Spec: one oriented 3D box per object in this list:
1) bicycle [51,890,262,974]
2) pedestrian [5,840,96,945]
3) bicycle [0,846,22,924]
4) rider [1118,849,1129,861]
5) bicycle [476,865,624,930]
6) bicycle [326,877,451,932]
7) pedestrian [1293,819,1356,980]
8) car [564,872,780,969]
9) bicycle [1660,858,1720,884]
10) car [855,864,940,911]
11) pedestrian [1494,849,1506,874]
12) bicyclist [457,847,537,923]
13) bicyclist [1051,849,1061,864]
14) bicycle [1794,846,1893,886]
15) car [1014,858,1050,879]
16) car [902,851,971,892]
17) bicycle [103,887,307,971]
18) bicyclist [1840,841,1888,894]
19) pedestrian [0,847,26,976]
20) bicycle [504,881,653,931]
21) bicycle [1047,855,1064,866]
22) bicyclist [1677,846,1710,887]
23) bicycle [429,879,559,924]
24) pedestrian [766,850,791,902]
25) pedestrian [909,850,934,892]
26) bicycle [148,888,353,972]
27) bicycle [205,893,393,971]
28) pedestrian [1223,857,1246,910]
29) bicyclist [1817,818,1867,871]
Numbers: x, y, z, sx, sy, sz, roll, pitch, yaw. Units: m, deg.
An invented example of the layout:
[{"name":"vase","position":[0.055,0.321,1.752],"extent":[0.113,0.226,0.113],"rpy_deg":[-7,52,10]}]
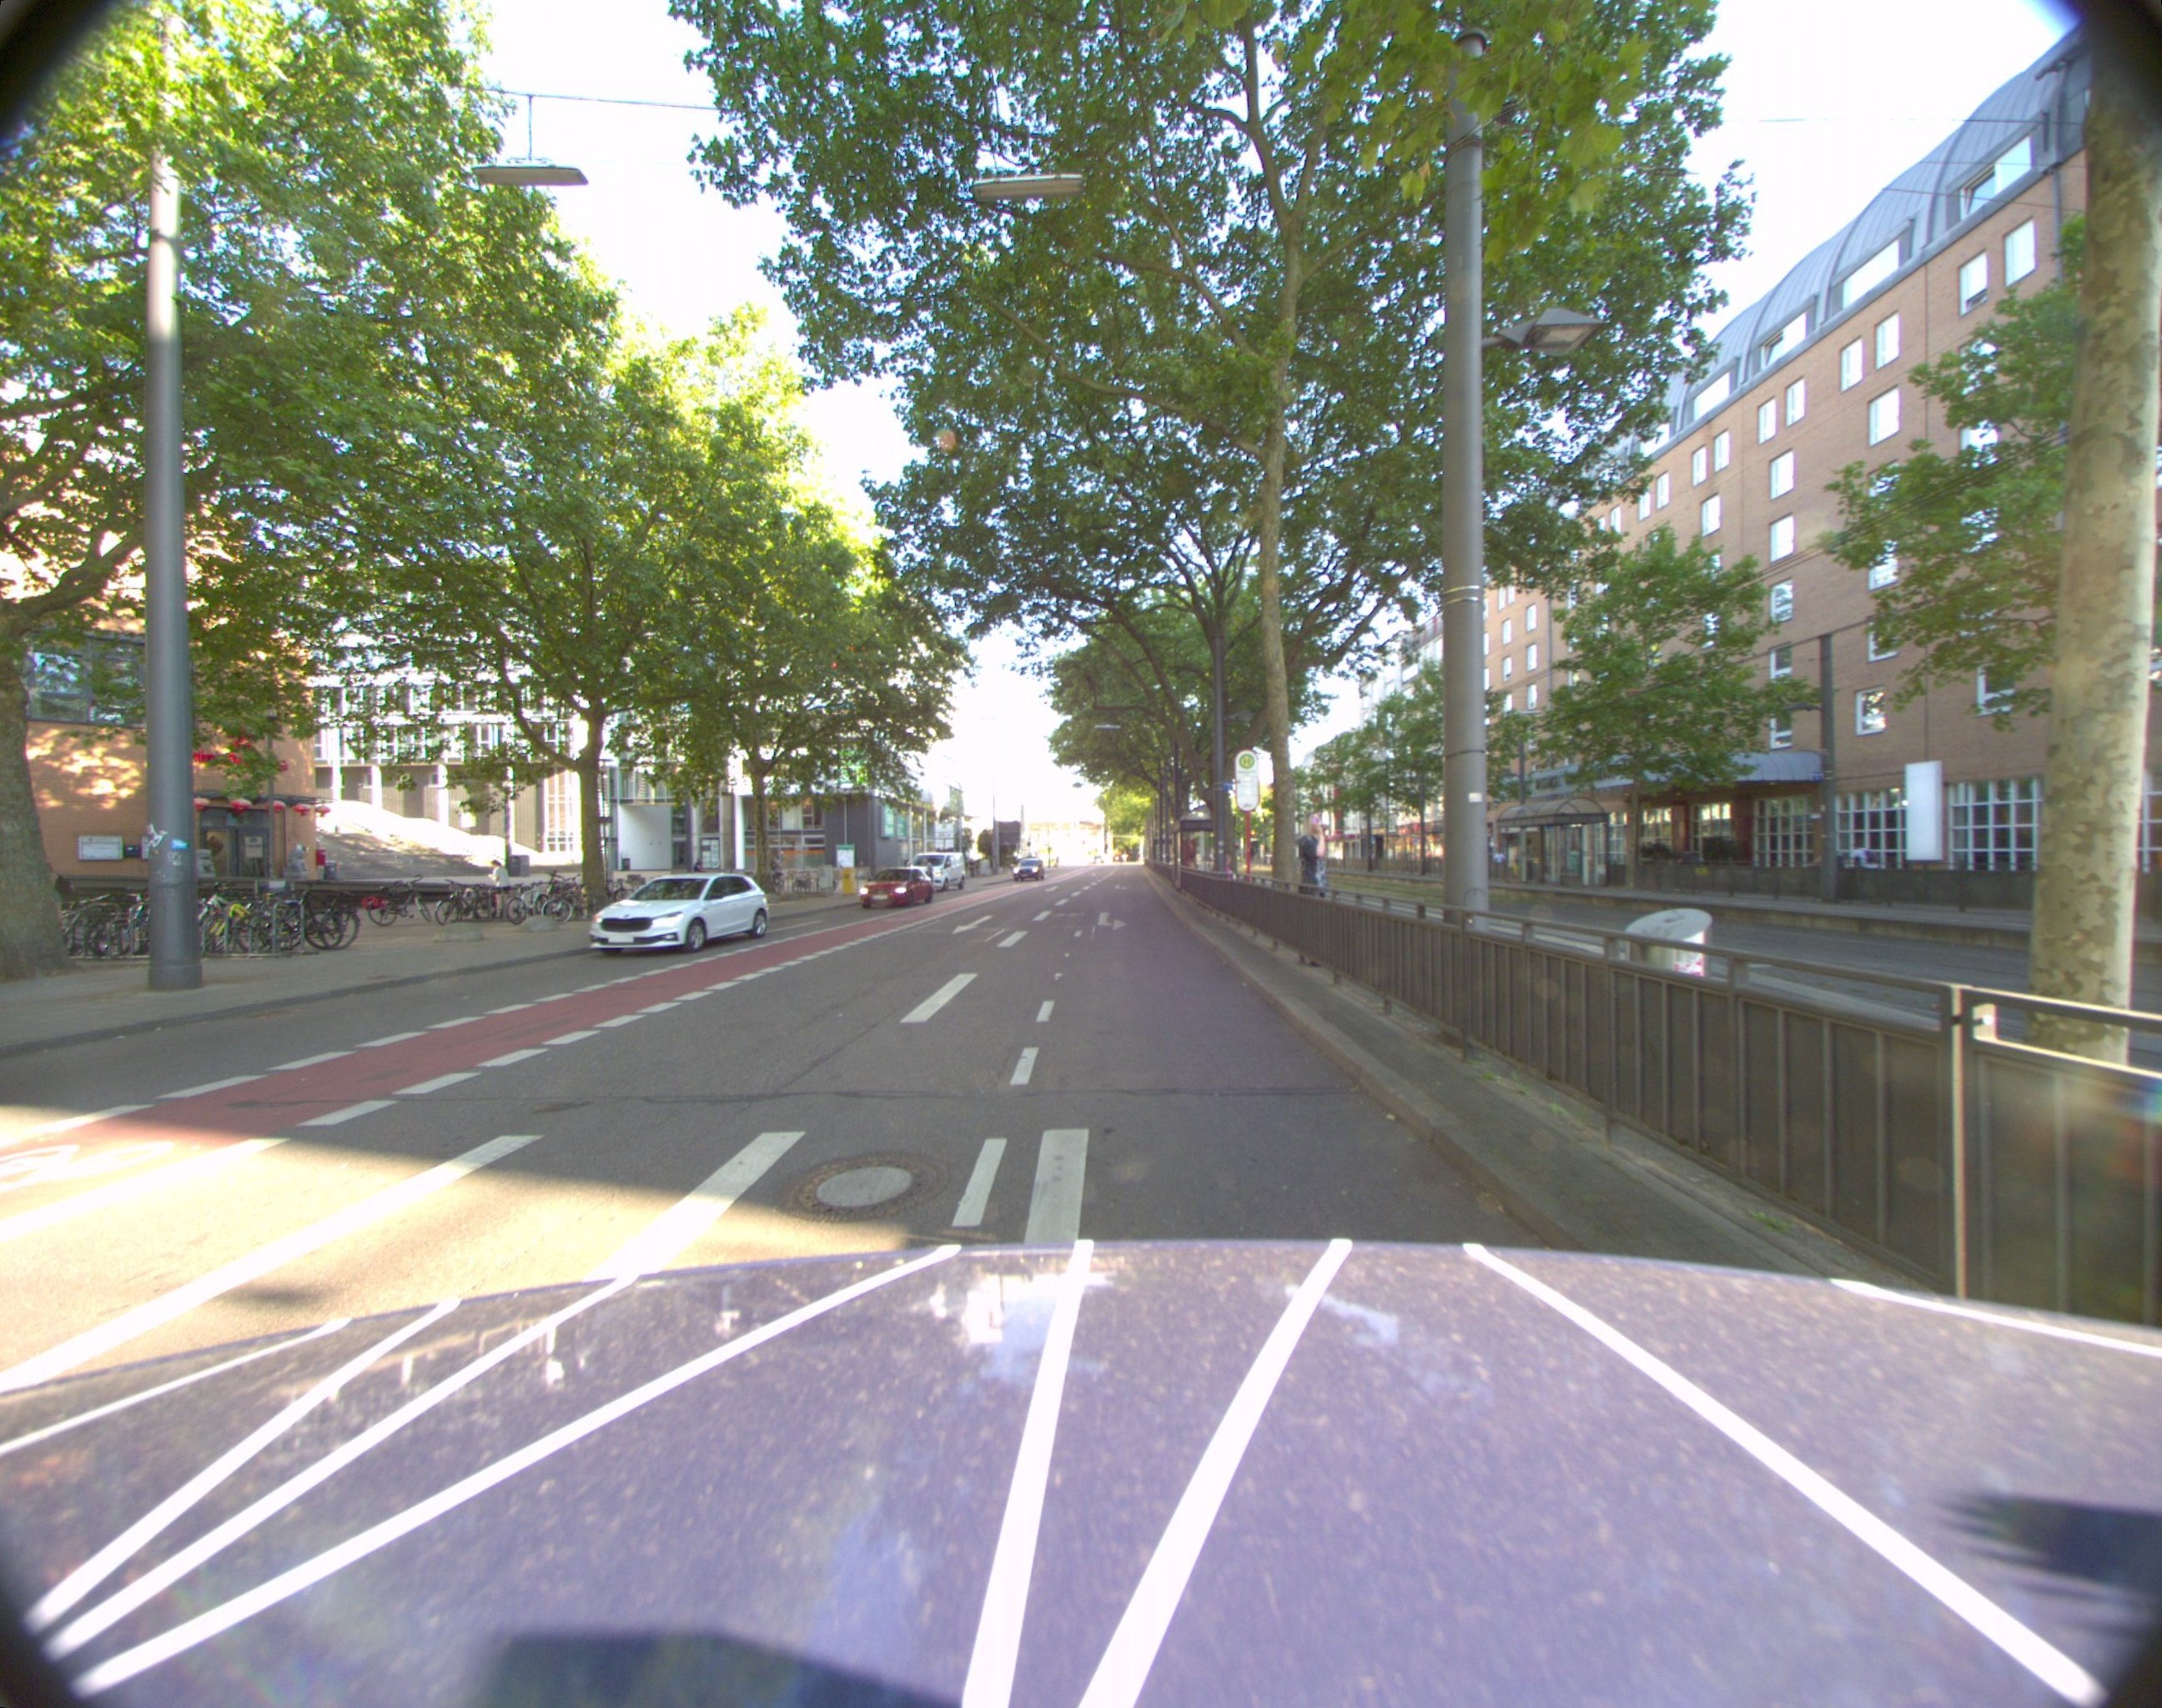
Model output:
[{"name":"bicycle","position":[-15.611,1.269,12.962],"extent":[0.657,1.155,2.293],"rpy_deg":[-2,1,3]},{"name":"pedestrian","position":[-22.503,0.825,16.603],"extent":[0.842,2.220,0.905],"rpy_deg":[-2,1,22]},{"name":"bicycle","position":[-13.444,0.405,7.961],"extent":[0.925,0.943,2.637],"rpy_deg":[-2,1,1]},{"name":"rider","position":[7.127,0.165,127.773],"extent":[1.241,2.002,1.230],"rpy_deg":[-1,1,42]},{"name":"bicycle","position":[-13.998,1.099,20.217],"extent":[0.892,1.476,3.228],"rpy_deg":[-1,1,22]},{"name":"bicycle","position":[-17.846,1.270,19.700],"extent":[0.699,1.193,2.700],"rpy_deg":[-2,1,1]},{"name":"pedestrian","position":[2.850,0.520,8.921],"extent":[0.543,1.823,0.524],"rpy_deg":[-2,1,4]},{"name":"car","position":[-7.819,1.189,15.064],"extent":[1.835,1.481,4.196],"rpy_deg":[-2,0,3]},{"name":"bicycle","position":[23.789,0.651,29.729],"extent":[0.696,0.992,1.900],"rpy_deg":[-1,0,-6]},{"name":"car","position":[-6.640,1.170,27.972],"extent":[1.835,1.481,4.196],"rpy_deg":[-3,0,3]},{"name":"pedestrian","position":[29.551,0.505,53.586],"extent":[0.504,1.725,0.574],"rpy_deg":[-1,1,3]},{"name":"bicyclist","position":[-16.107,0.840,20.981],"extent":[1.296,2.002,1.158],"rpy_deg":[-1,1,17]},{"name":"bicyclist","position":[-3.452,0.297,104.873],"extent":[0.957,2.002,0.940],"rpy_deg":[-1,1,32]},{"name":"bicycle","position":[22.869,0.377,22.841],"extent":[0.687,1.135,2.110],"rpy_deg":[0,-2,-6]},{"name":"car","position":[-3.700,1.083,58.250],"extent":[1.784,1.481,4.198],"rpy_deg":[-3,0,10]},{"name":"car","position":[-7.512,0.863,40.052],"extent":[1.932,1.953,5.920],"rpy_deg":[-2,0,5]},{"name":"bicycle","position":[-14.821,1.223,12.984],"extent":[0.671,1.155,2.305],"rpy_deg":[-2,1,3]},{"name":"bicyclist","position":[23.678,0.403,22.983],"extent":[0.662,1.565,0.758],"rpy_deg":[-1,1,-7]},{"name":"pedestrian","position":[-17.080,0.890,11.449],"extent":[0.934,2.002,1.091],"rpy_deg":[-1,1,-25]},{"name":"bicycle","position":[-13.034,1.314,19.893],"extent":[0.975,1.020,3.208],"rpy_deg":[-2,1,23]},{"name":"bicycle","position":[-3.453,0.847,104.886],"extent":[0.948,1.460,2.711],"rpy_deg":[0,0,34]},{"name":"bicyclist","position":[23.803,0.484,29.528],"extent":[0.662,1.560,0.758],"rpy_deg":[-1,1,-7]},{"name":"bicycle","position":[-16.256,1.292,21.044],"extent":[3.328,1.077,1.150],"rpy_deg":[0,1,18]},{"name":"pedestrian","position":[-16.041,1.153,40.308],"extent":[0.981,2.633,0.900],"rpy_deg":[-3,1,-31]},{"name":"pedestrian","position":[-7.750,0.836,36.922],"extent":[0.815,2.001,0.979],"rpy_deg":[-2,0,10]},{"name":"bicycle","position":[-14.049,1.235,13.001],"extent":[0.751,1.155,2.398],"rpy_deg":[-2,1,2]},{"name":"bicycle","position":[-13.114,1.262,12.886],"extent":[0.682,1.054,2.337],"rpy_deg":[-1,1,2]},{"name":"pedestrian","position":[3.956,0.753,19.569],"extent":[0.542,1.310,0.524],"rpy_deg":[-2,1,12]},{"name":"bicyclist","position":[22.867,-0.267,22.833],"extent":[0.684,1.550,0.758],"rpy_deg":[0,-1,-7]}]
